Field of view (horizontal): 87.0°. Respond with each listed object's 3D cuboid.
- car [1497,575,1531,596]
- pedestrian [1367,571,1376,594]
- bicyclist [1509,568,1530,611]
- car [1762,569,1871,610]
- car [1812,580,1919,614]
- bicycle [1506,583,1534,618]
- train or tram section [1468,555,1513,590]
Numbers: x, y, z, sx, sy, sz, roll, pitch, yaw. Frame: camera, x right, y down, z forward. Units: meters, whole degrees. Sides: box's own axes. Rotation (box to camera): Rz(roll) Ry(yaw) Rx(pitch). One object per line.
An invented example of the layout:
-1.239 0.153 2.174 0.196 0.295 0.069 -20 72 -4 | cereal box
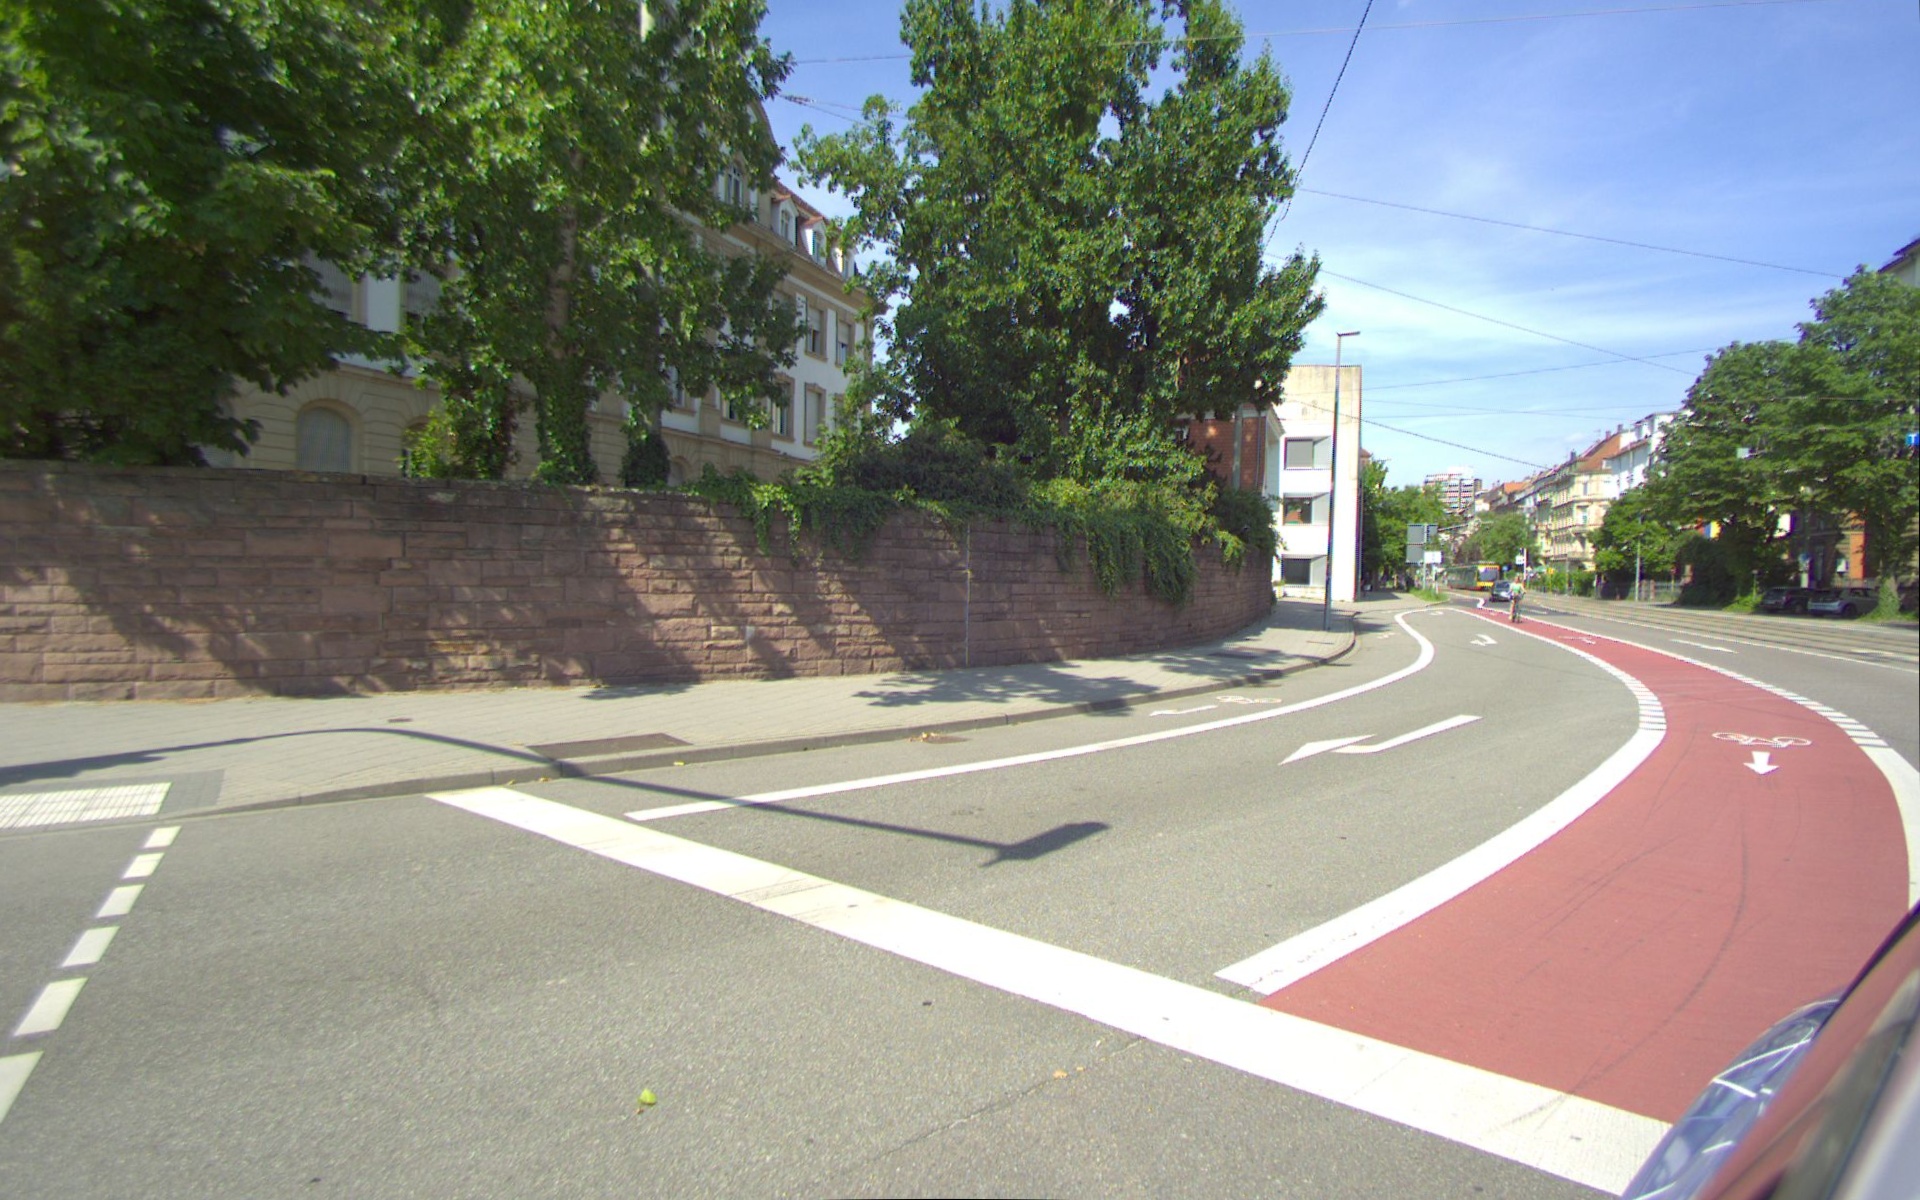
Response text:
38.081 -1.018 69.657 1.785 1.393 4.239 2 2 26 | car
28.255 -1.213 69.467 0.543 1.587 0.925 2 2 21 | pedestrian
20.672 -0.392 37.391 0.582 1.567 0.924 -1 0 25 | bicyclist
46.275 -0.606 54.796 3.953 2.038 1.986 2 2 22 | car
44.584 -0.148 49.511 3.953 1.482 1.986 2 2 22 | car
20.728 0.001 37.497 0.679 1.237 2.169 2 2 24 | bicycle
63.167 -3.298 120.837 3.179 3.908 14.483 2 2 22 | train or tram section
